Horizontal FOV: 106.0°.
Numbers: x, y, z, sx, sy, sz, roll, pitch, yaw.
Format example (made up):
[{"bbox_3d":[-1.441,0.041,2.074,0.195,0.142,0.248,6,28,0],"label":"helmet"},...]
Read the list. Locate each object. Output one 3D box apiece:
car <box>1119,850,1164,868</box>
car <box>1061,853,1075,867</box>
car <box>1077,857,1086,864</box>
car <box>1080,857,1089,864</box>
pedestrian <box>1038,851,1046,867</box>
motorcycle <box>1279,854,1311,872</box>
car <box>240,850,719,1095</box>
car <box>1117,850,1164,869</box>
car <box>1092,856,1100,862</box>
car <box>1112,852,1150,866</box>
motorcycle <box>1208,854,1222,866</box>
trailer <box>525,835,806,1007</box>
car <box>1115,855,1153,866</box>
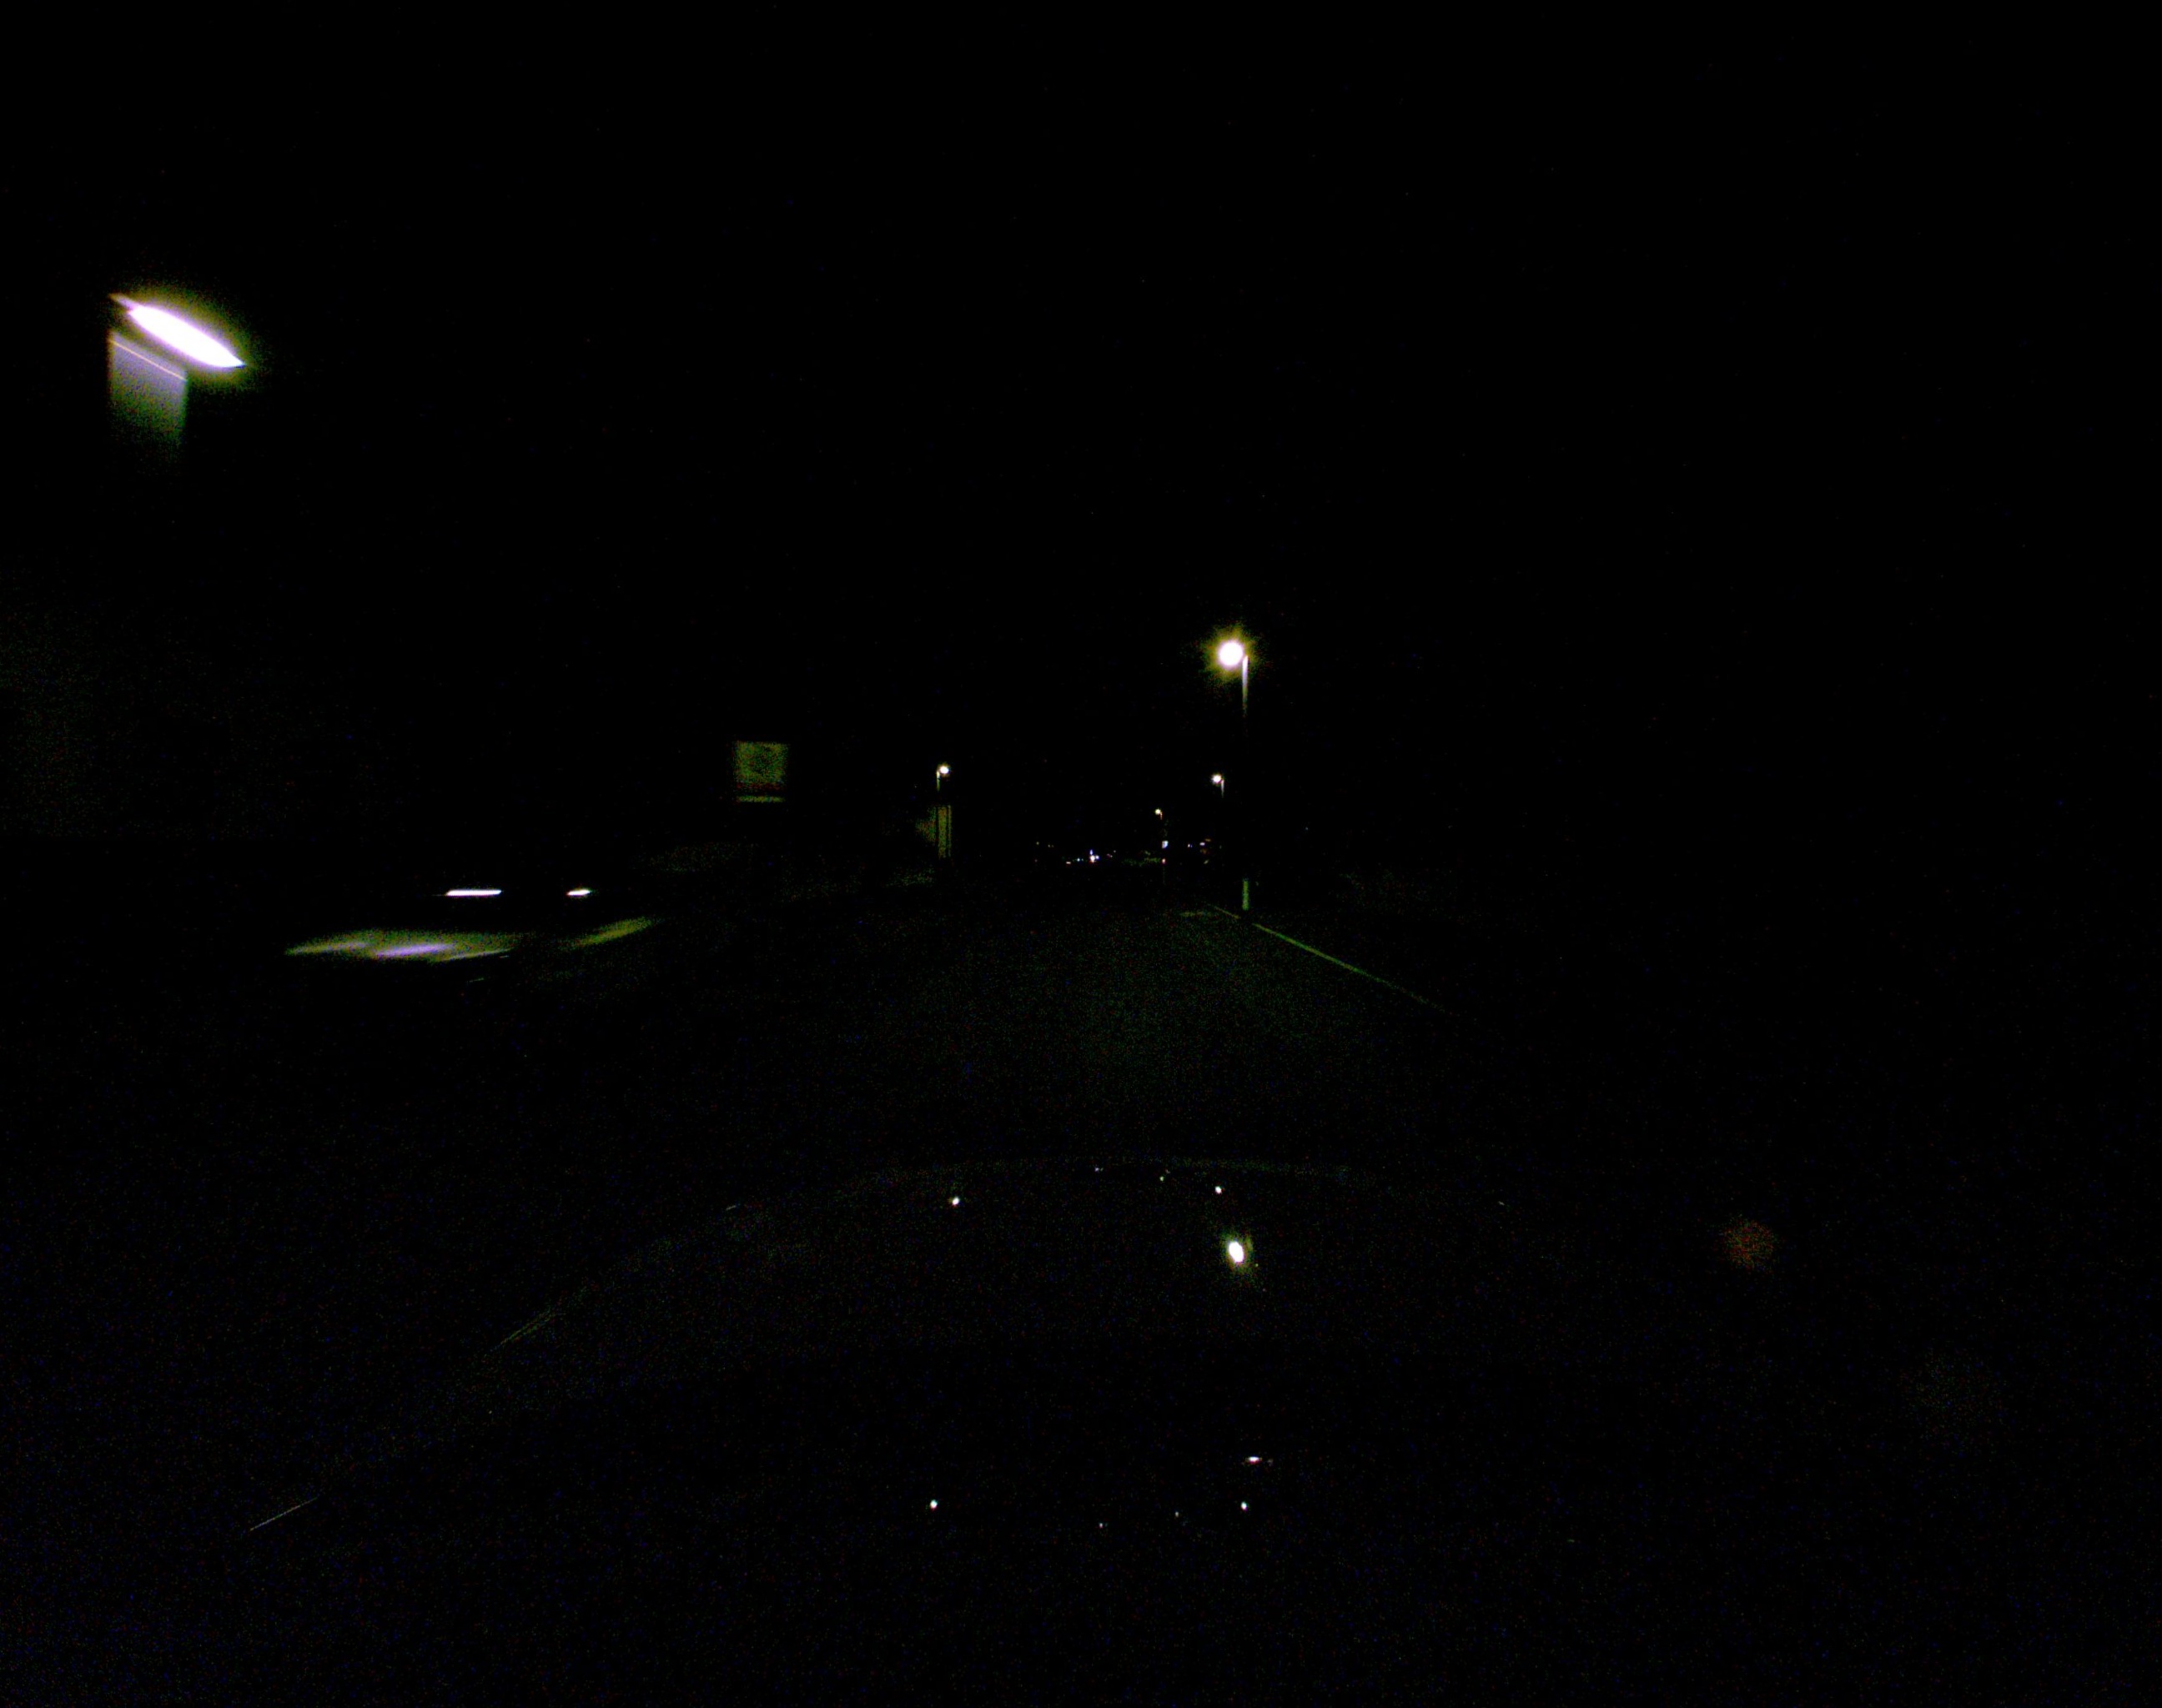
[{"bbox_3d":[7.084,0.589,95.907,5.166,2.013,2.101,-2,0,0],"label":"car"},{"bbox_3d":[-1.851,0.878,116.609,1.819,1.986,4.465,1,0,0],"label":"car"},{"bbox_3d":[0.043,1.199,148.987,1.678,1.331,3.599,0,0,0],"label":"car"},{"bbox_3d":[0.700,1.249,165.777,1.678,1.331,3.599,0,0,0],"label":"car"},{"bbox_3d":[-5.030,0.631,105.001,0.782,2.013,1.204,1,0,1],"label":"pedestrian"},{"bbox_3d":[16.199,0.668,61.528,2.262,1.214,0.708,-2,0,-15],"label":"motorcycle"},{"bbox_3d":[-4.529,0.768,6.735,1.666,1.522,2.978,2,0,0],"label":"car"},{"bbox_3d":[6.738,0.619,92.846,5.166,2.013,2.101,-2,0,0],"label":"car"},{"bbox_3d":[3.988,1.393,218.955,1.921,1.649,3.821,-1,0,0],"label":"car"},{"bbox_3d":[7.260,0.671,117.617,5.150,1.887,2.108,-2,0,10],"label":"car"},{"bbox_3d":[16.245,0.733,98.685,1.060,1.327,2.722,0,1,25],"label":"motorcycle"},{"bbox_3d":[-4.808,0.682,9.996,1.441,1.688,3.429,2,0,4],"label":"trailer"},{"bbox_3d":[7.490,0.894,114.893,5.166,1.469,2.101,-2,0,0],"label":"car"}]
